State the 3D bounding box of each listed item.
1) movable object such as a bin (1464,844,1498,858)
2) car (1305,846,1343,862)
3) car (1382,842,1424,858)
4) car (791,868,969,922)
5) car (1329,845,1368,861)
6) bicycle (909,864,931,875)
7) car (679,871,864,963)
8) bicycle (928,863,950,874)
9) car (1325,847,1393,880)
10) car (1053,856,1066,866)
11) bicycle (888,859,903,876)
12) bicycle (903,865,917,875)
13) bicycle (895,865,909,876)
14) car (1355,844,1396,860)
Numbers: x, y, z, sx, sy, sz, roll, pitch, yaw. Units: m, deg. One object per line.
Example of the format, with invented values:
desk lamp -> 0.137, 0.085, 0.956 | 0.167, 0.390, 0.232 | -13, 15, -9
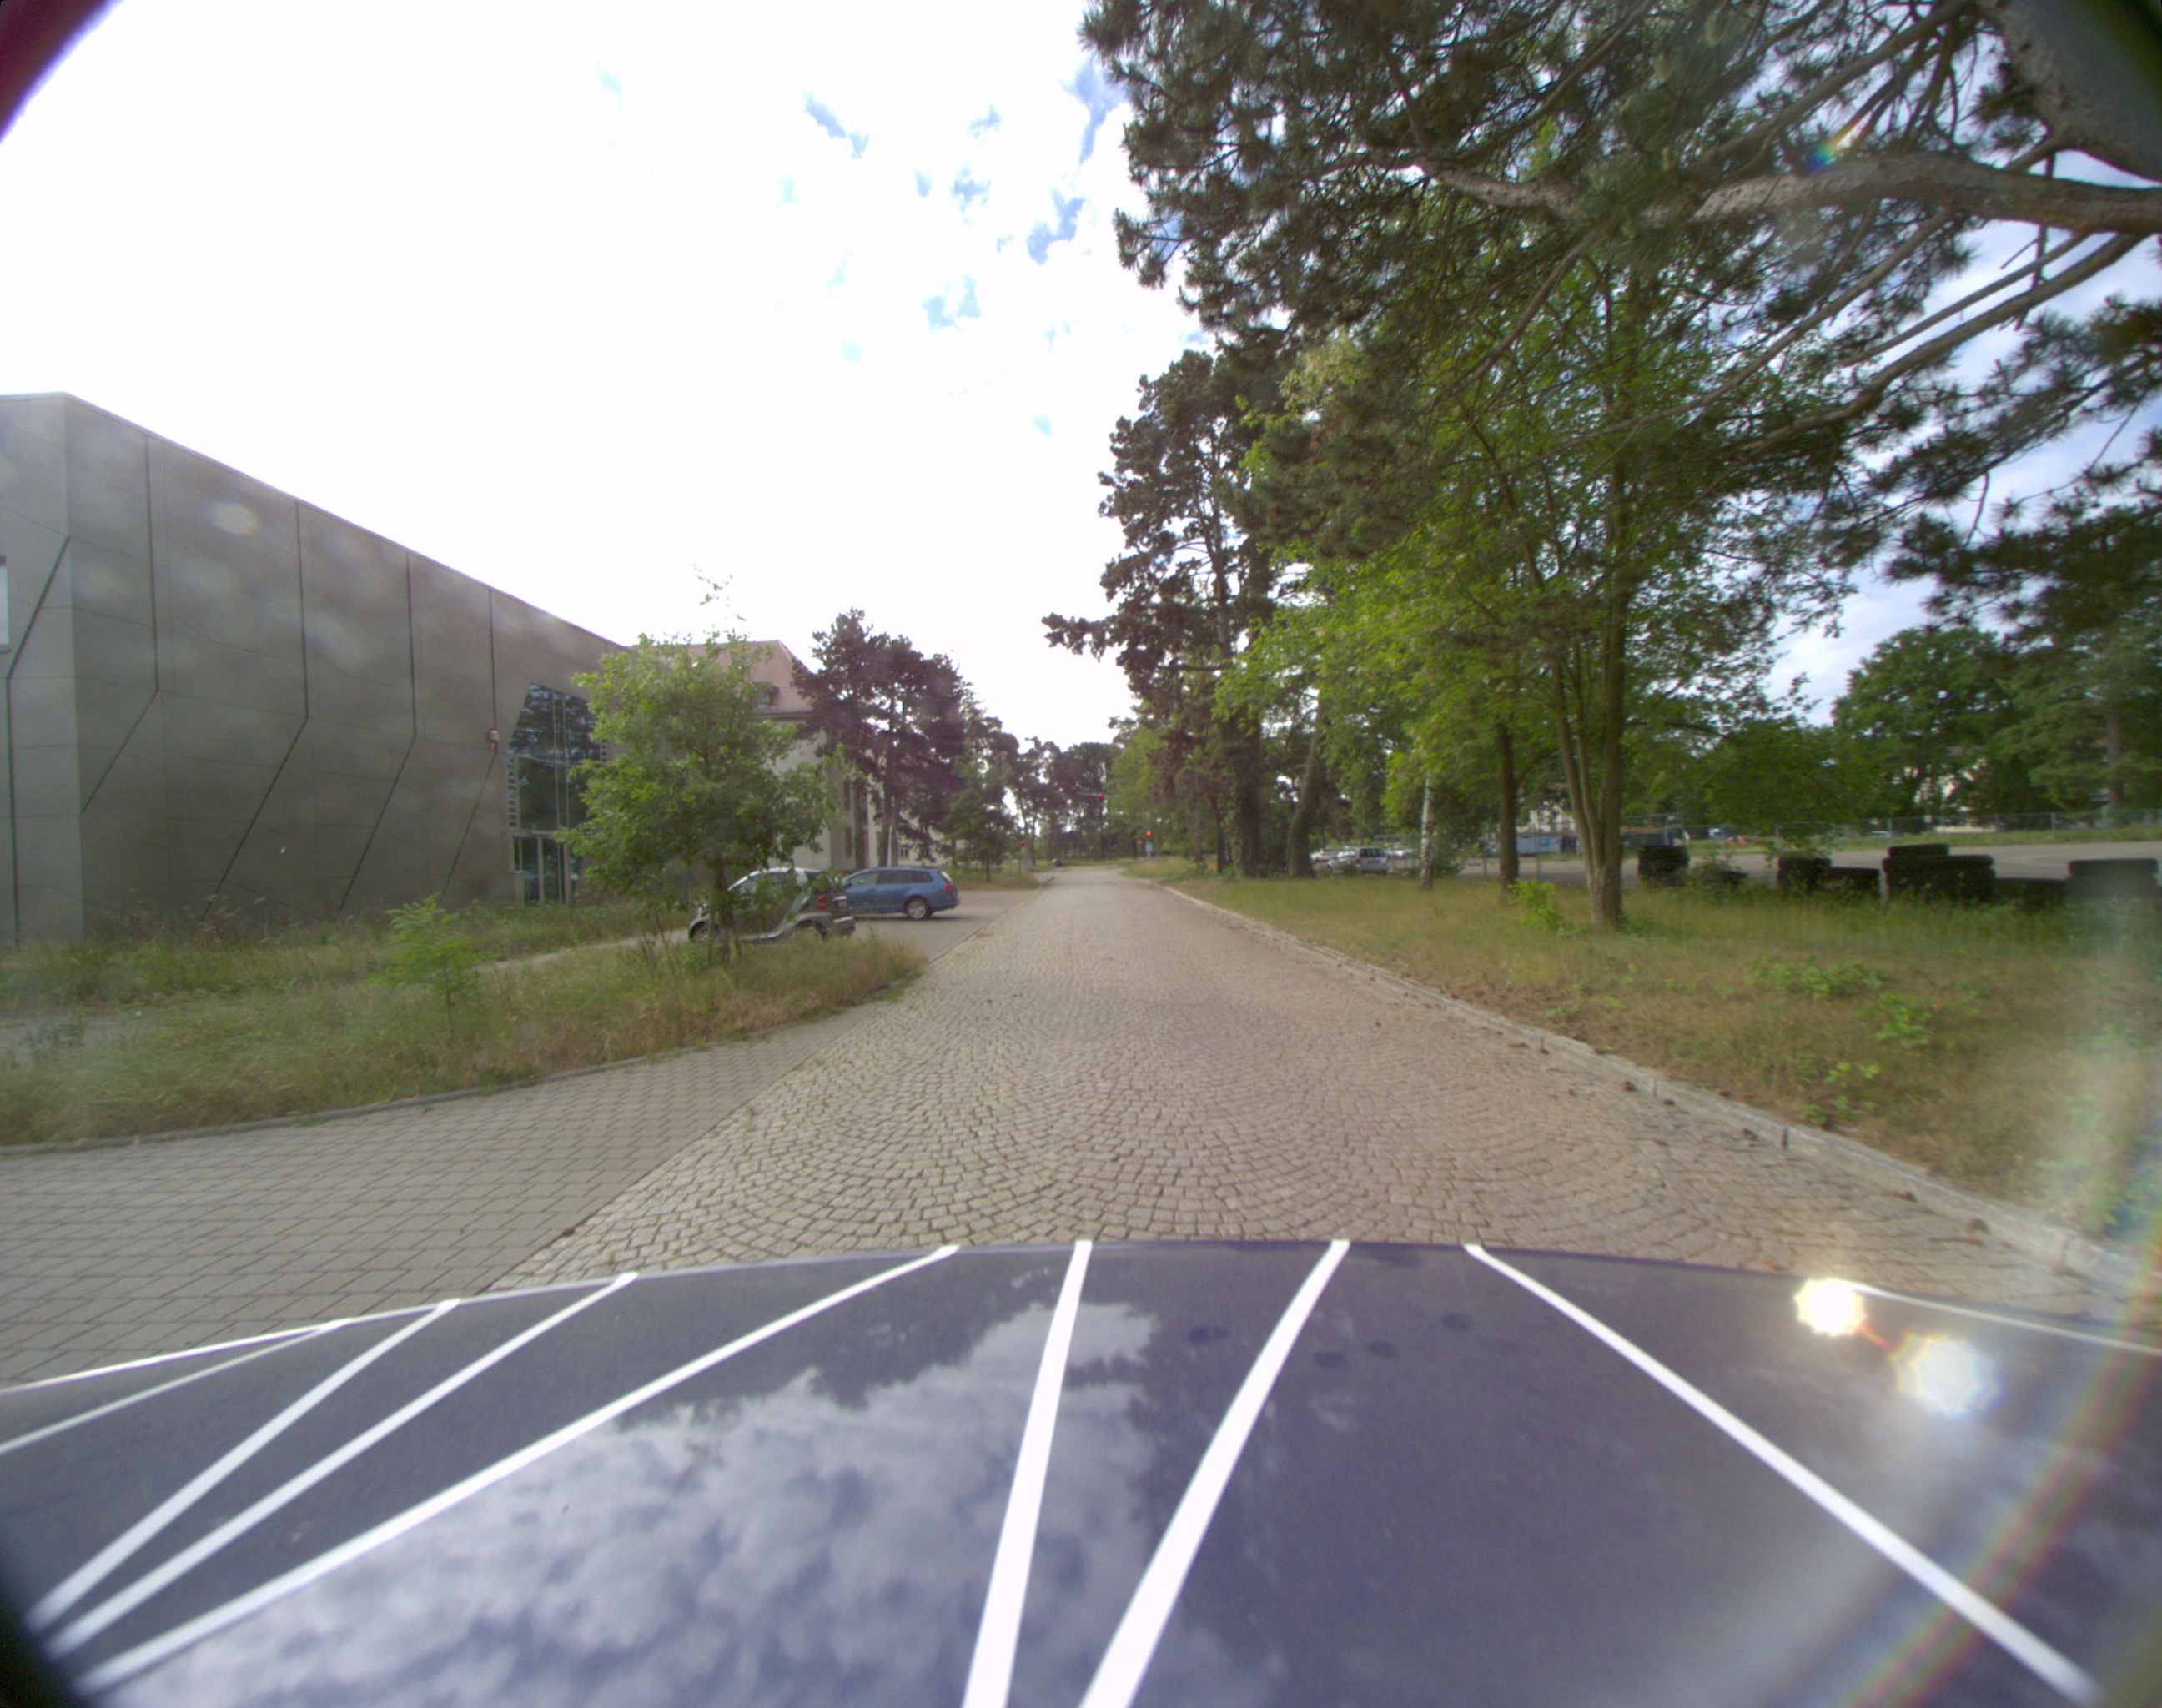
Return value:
movable object such as a bin -> 32.249, -0.251, 61.314 | 1.057, 1.064, 2.719 | -2, 0, -8
car -> 23.362, 0.009, 73.082 | 1.999, 1.441, 4.452 | -2, 0, -3
car -> 31.337, -0.340, 74.126 | 1.999, 1.441, 4.452 | -2, 0, -3
car -> -5.558, 1.129, 21.484 | 4.537, 1.441, 1.931 | 0, 0, -2
car -> 25.872, -0.102, 73.542 | 1.999, 1.441, 4.452 | -2, 0, -3
bicycle -> -16.939, 1.645, 79.821 | 2.164, 1.051, 0.717 | -2, 0, -3
car -> -5.654, 1.119, 14.144 | 2.748, 1.573, 1.683 | 0, 0, 0
bicycle -> -14.859, 1.539, 79.748 | 2.164, 1.088, 0.717 | -2, 0, -3
car -> 12.957, 0.408, 35.594 | 1.670, 1.402, 3.723 | -2, 0, -2
car -> -3.848, 1.203, 136.978 | 1.999, 1.777, 3.998 | -2, 0, -5
bicycle -> -19.841, 1.410, 81.257 | 0.905, 1.721, 2.199 | -2, 0, 3
bicycle -> -18.222, 1.685, 80.905 | 0.799, 1.051, 2.166 | -2, 0, 3
bicycle -> -19.070, 1.718, 80.925 | 0.799, 1.051, 2.199 | -2, 0, 3
car -> 28.453, -0.212, 73.620 | 1.999, 1.441, 4.452 | -2, 0, -3
